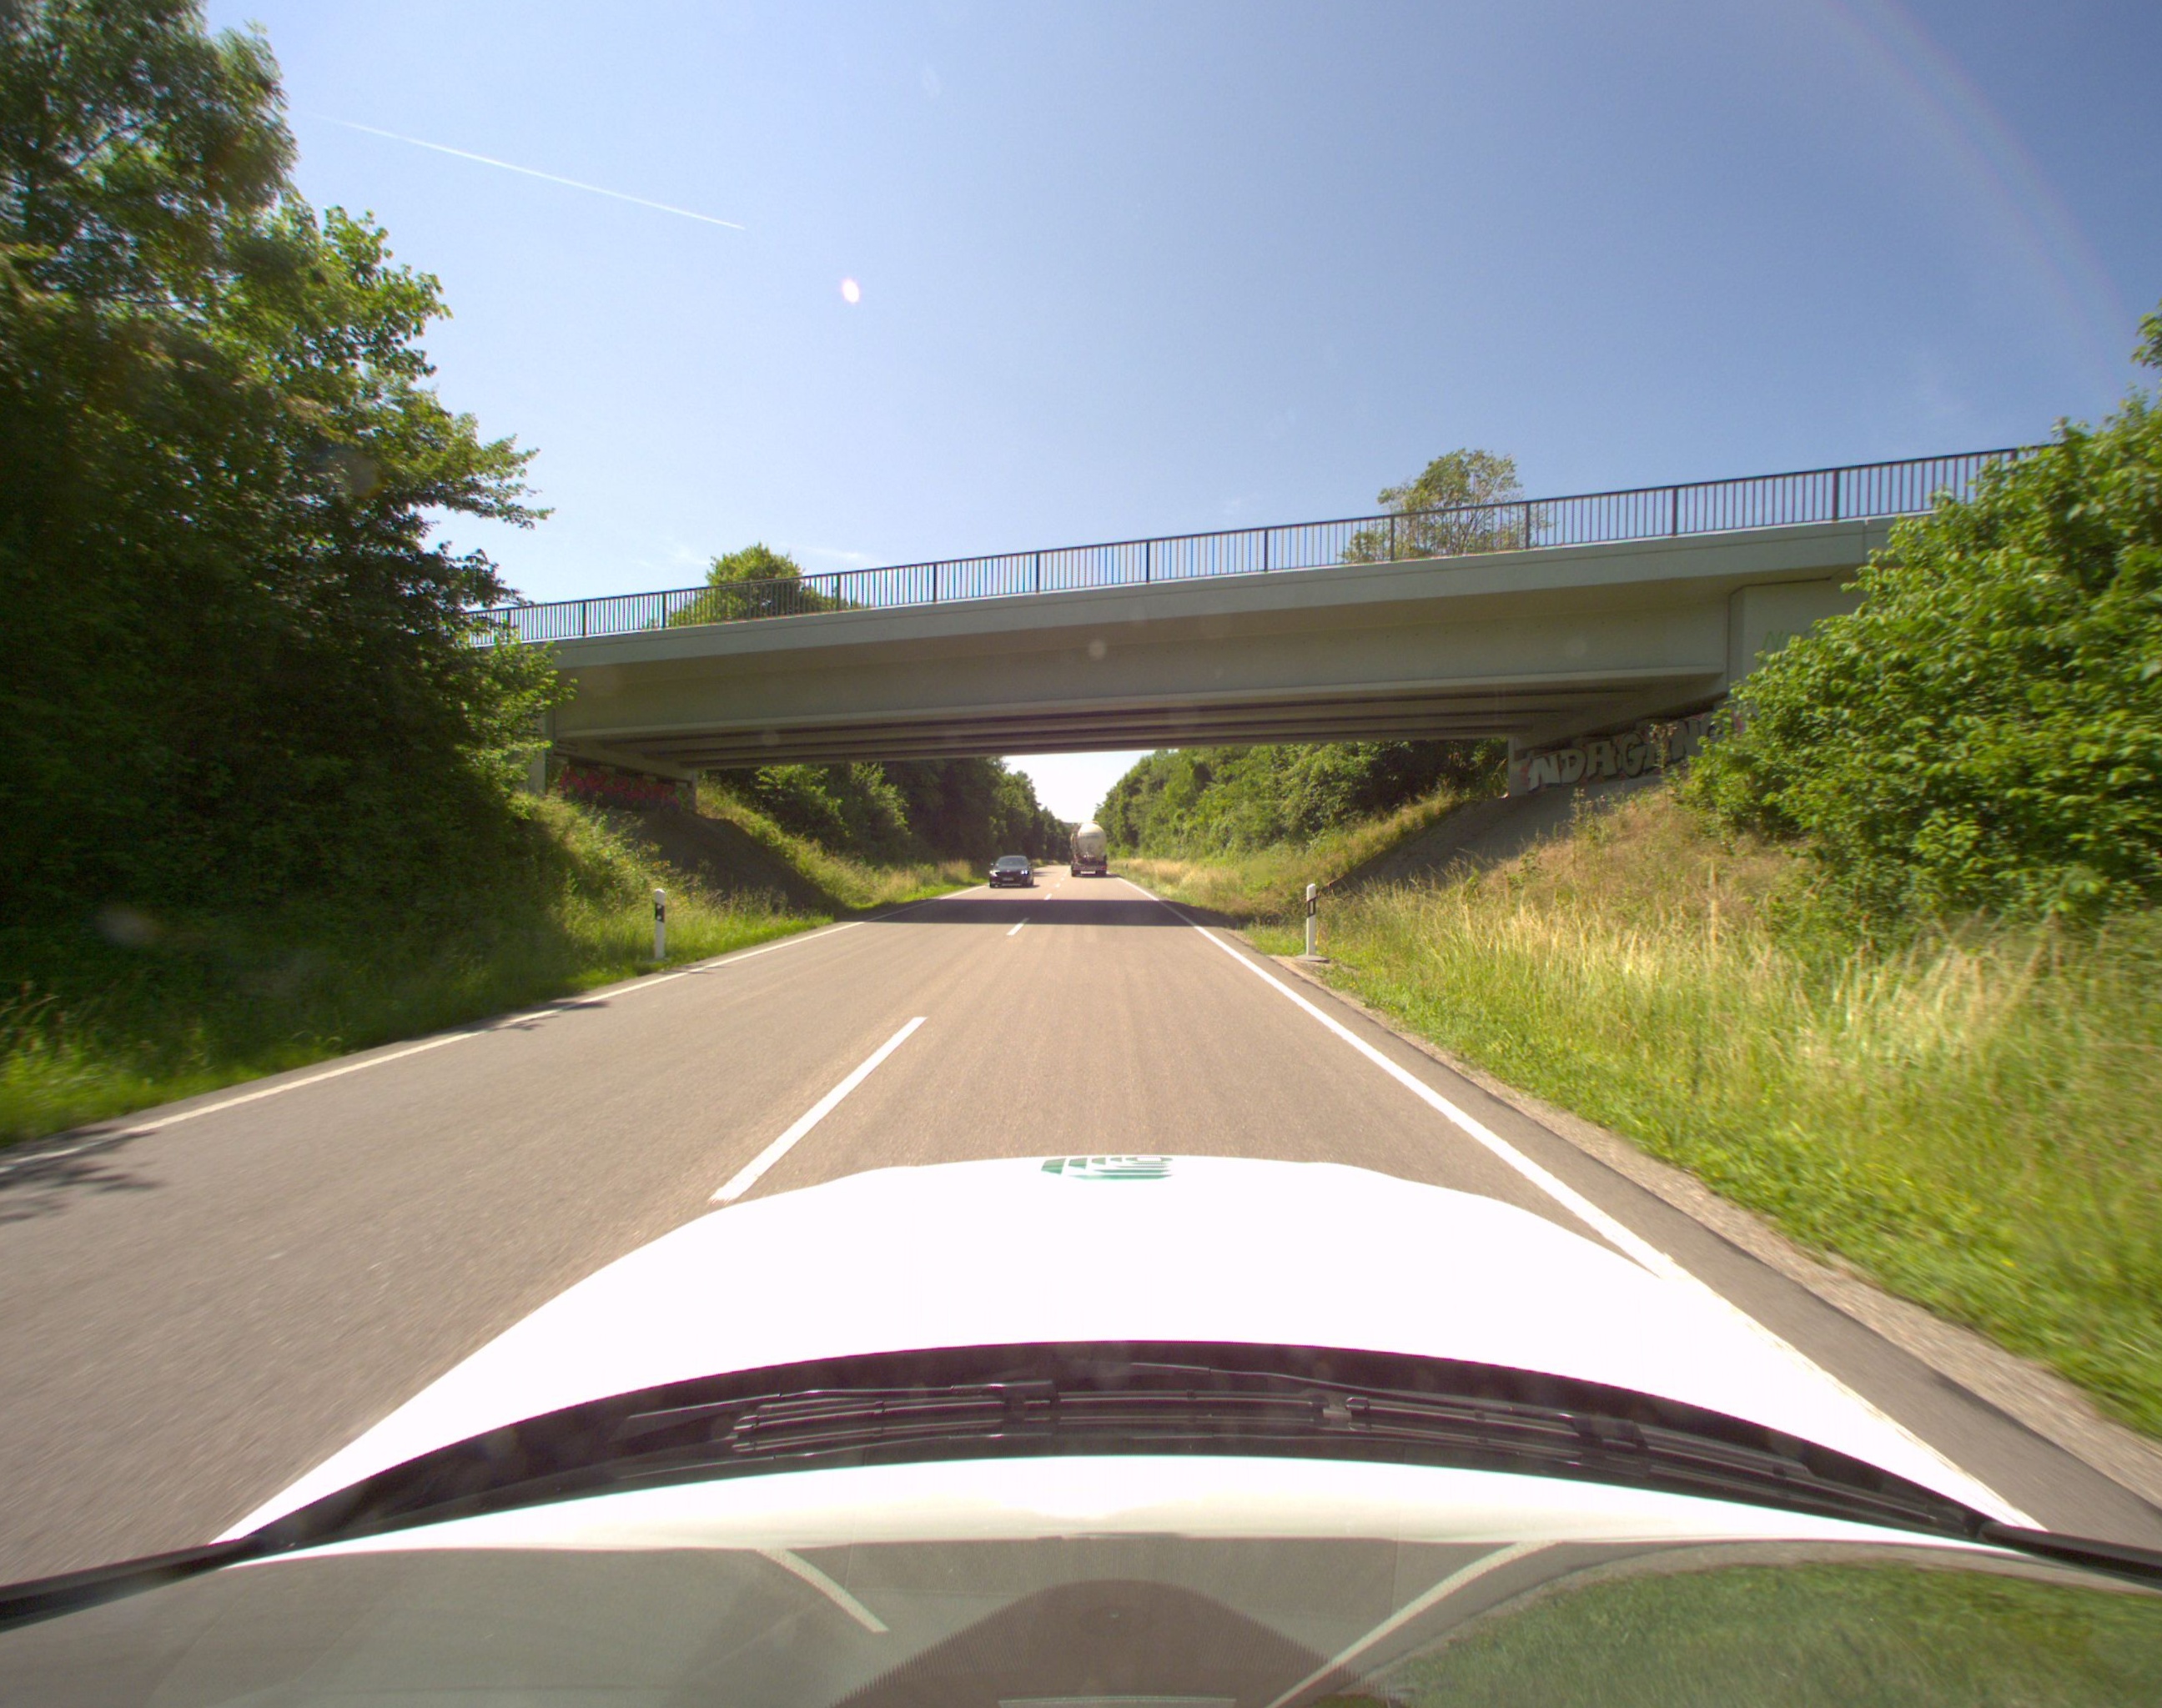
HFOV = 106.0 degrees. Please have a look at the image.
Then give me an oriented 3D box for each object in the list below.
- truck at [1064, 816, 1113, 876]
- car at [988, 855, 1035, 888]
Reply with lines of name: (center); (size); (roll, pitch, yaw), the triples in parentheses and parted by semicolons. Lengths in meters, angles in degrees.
truck: (0.360, -0.430, 63.413); (3.041, 3.998, 15.624); (2, -1, -2)
car: (-3.334, 0.799, 39.920); (1.852, 1.505, 4.587); (-1, 0, 1)
